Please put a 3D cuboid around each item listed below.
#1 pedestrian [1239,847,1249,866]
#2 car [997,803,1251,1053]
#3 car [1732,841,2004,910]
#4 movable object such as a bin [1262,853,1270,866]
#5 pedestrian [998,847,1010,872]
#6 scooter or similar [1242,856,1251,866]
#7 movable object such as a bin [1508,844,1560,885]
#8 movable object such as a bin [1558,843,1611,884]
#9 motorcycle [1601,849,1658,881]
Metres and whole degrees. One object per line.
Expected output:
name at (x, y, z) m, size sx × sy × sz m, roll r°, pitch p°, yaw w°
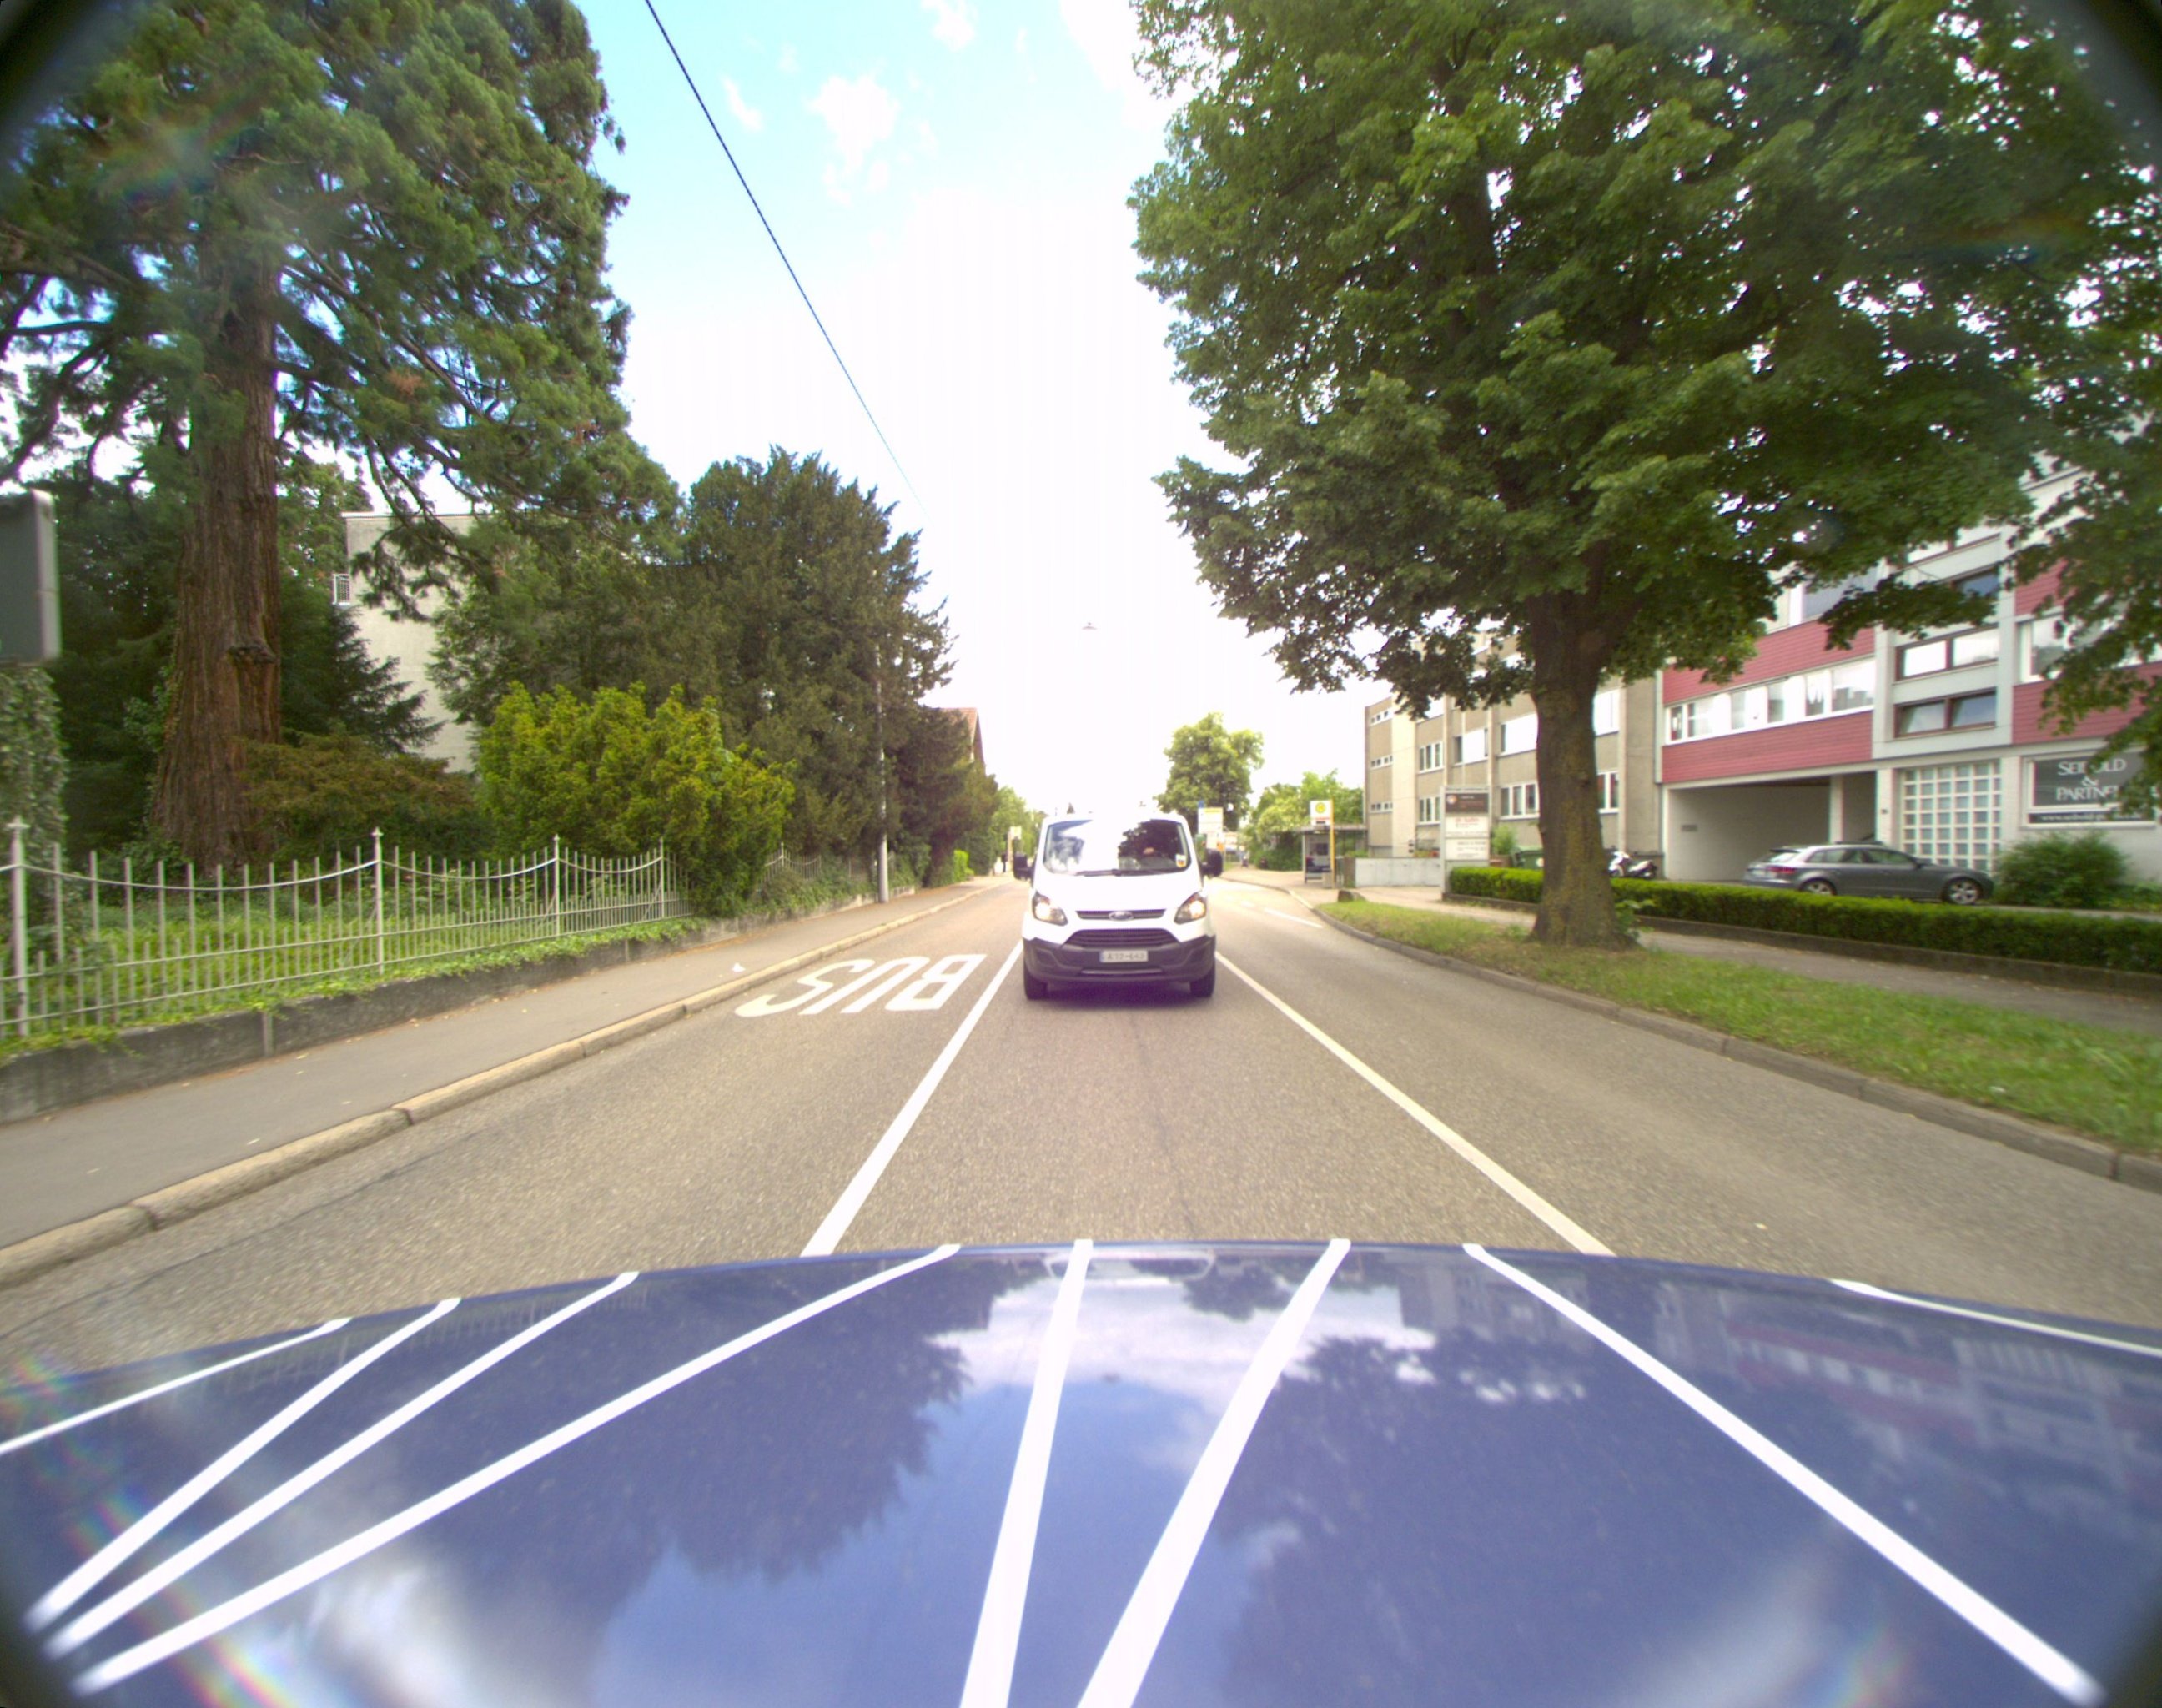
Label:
pedestrian at (13.327, 0.180, 62.208) m, size 0.672 × 1.549 × 0.520 m, roll -1°, pitch 2°, yaw 18°
car at (0.318, 0.551, 9.014) m, size 1.999 × 1.961 × 5.713 m, roll -2°, pitch 1°, yaw -1°
car at (18.415, 0.500, 18.027) m, size 4.143 × 1.471 × 1.814 m, roll -2°, pitch 1°, yaw 15°
movable object such as a bin at (13.828, 0.426, 56.709) m, size 0.566 × 0.922 × 0.608 m, roll -1°, pitch 2°, yaw 16°
pedestrian at (-5.517, 0.402, 54.632) m, size 0.488 × 1.757 × 0.672 m, roll -1°, pitch 2°, yaw 32°
scooter or similar at (13.374, 0.570, 61.441) m, size 0.607 × 0.782 × 0.860 m, roll -1°, pitch 1°, yaw 17°
movable object such as a bin at (16.872, 0.377, 28.329) m, size 1.301 × 1.457 × 0.992 m, roll -2°, pitch 2°, yaw 1°
movable object such as a bin at (18.710, 0.339, 28.249) m, size 1.365 × 1.457 × 0.884 m, roll -2°, pitch 2°, yaw 1°
motorcycle at (20.432, 0.410, 28.302) m, size 1.645 × 1.133 × 0.639 m, roll -2°, pitch 2°, yaw 1°
